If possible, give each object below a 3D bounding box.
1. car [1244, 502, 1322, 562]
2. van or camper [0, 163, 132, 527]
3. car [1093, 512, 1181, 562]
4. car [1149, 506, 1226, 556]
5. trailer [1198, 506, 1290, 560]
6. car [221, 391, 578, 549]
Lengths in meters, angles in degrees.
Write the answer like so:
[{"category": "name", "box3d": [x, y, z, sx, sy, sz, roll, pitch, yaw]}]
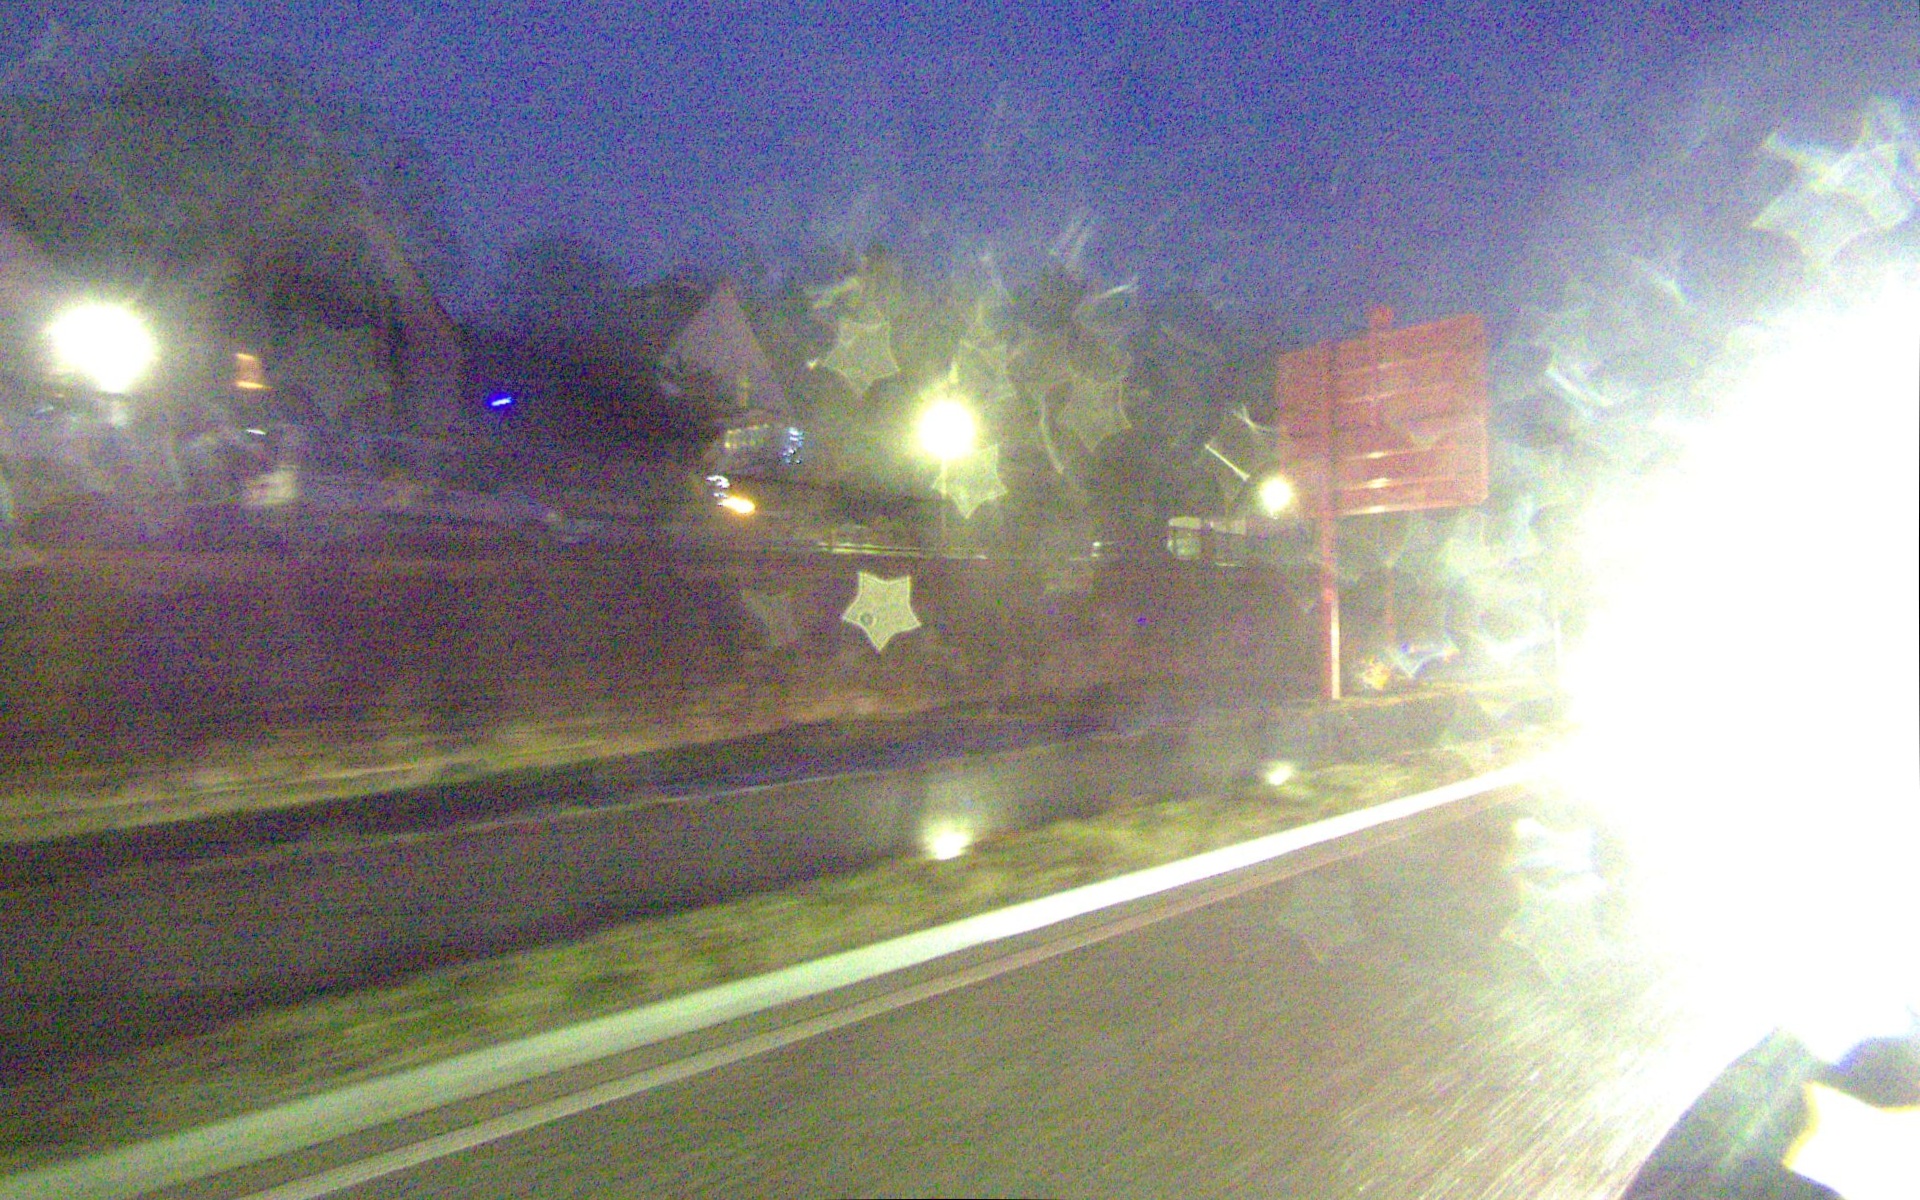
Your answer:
[{"category": "car", "box3d": [15.939, -3.252, 49.745, 2.108, 2.668, 5.381, 1, 1, 35]}, {"category": "van or camper", "box3d": [-10.316, -2.222, 7.268, 2.568, 2.945, 6.289, 1, 0, 31]}, {"category": "car", "box3d": [6.221, -2.151, 35.313, 1.606, 1.491, 3.952, 0, 0, 33]}, {"category": "car", "box3d": [8.815, -2.607, 39.025, 1.606, 1.660, 3.952, 0, 0, 33]}, {"category": "trailer", "box3d": [12.766, -2.924, 45.245, 2.219, 2.098, 5.648, 1, 1, 35]}, {"category": "car", "box3d": [-7.572, -1.643, 14.088, 1.629, 1.638, 4.086, 0, 0, 32]}]
